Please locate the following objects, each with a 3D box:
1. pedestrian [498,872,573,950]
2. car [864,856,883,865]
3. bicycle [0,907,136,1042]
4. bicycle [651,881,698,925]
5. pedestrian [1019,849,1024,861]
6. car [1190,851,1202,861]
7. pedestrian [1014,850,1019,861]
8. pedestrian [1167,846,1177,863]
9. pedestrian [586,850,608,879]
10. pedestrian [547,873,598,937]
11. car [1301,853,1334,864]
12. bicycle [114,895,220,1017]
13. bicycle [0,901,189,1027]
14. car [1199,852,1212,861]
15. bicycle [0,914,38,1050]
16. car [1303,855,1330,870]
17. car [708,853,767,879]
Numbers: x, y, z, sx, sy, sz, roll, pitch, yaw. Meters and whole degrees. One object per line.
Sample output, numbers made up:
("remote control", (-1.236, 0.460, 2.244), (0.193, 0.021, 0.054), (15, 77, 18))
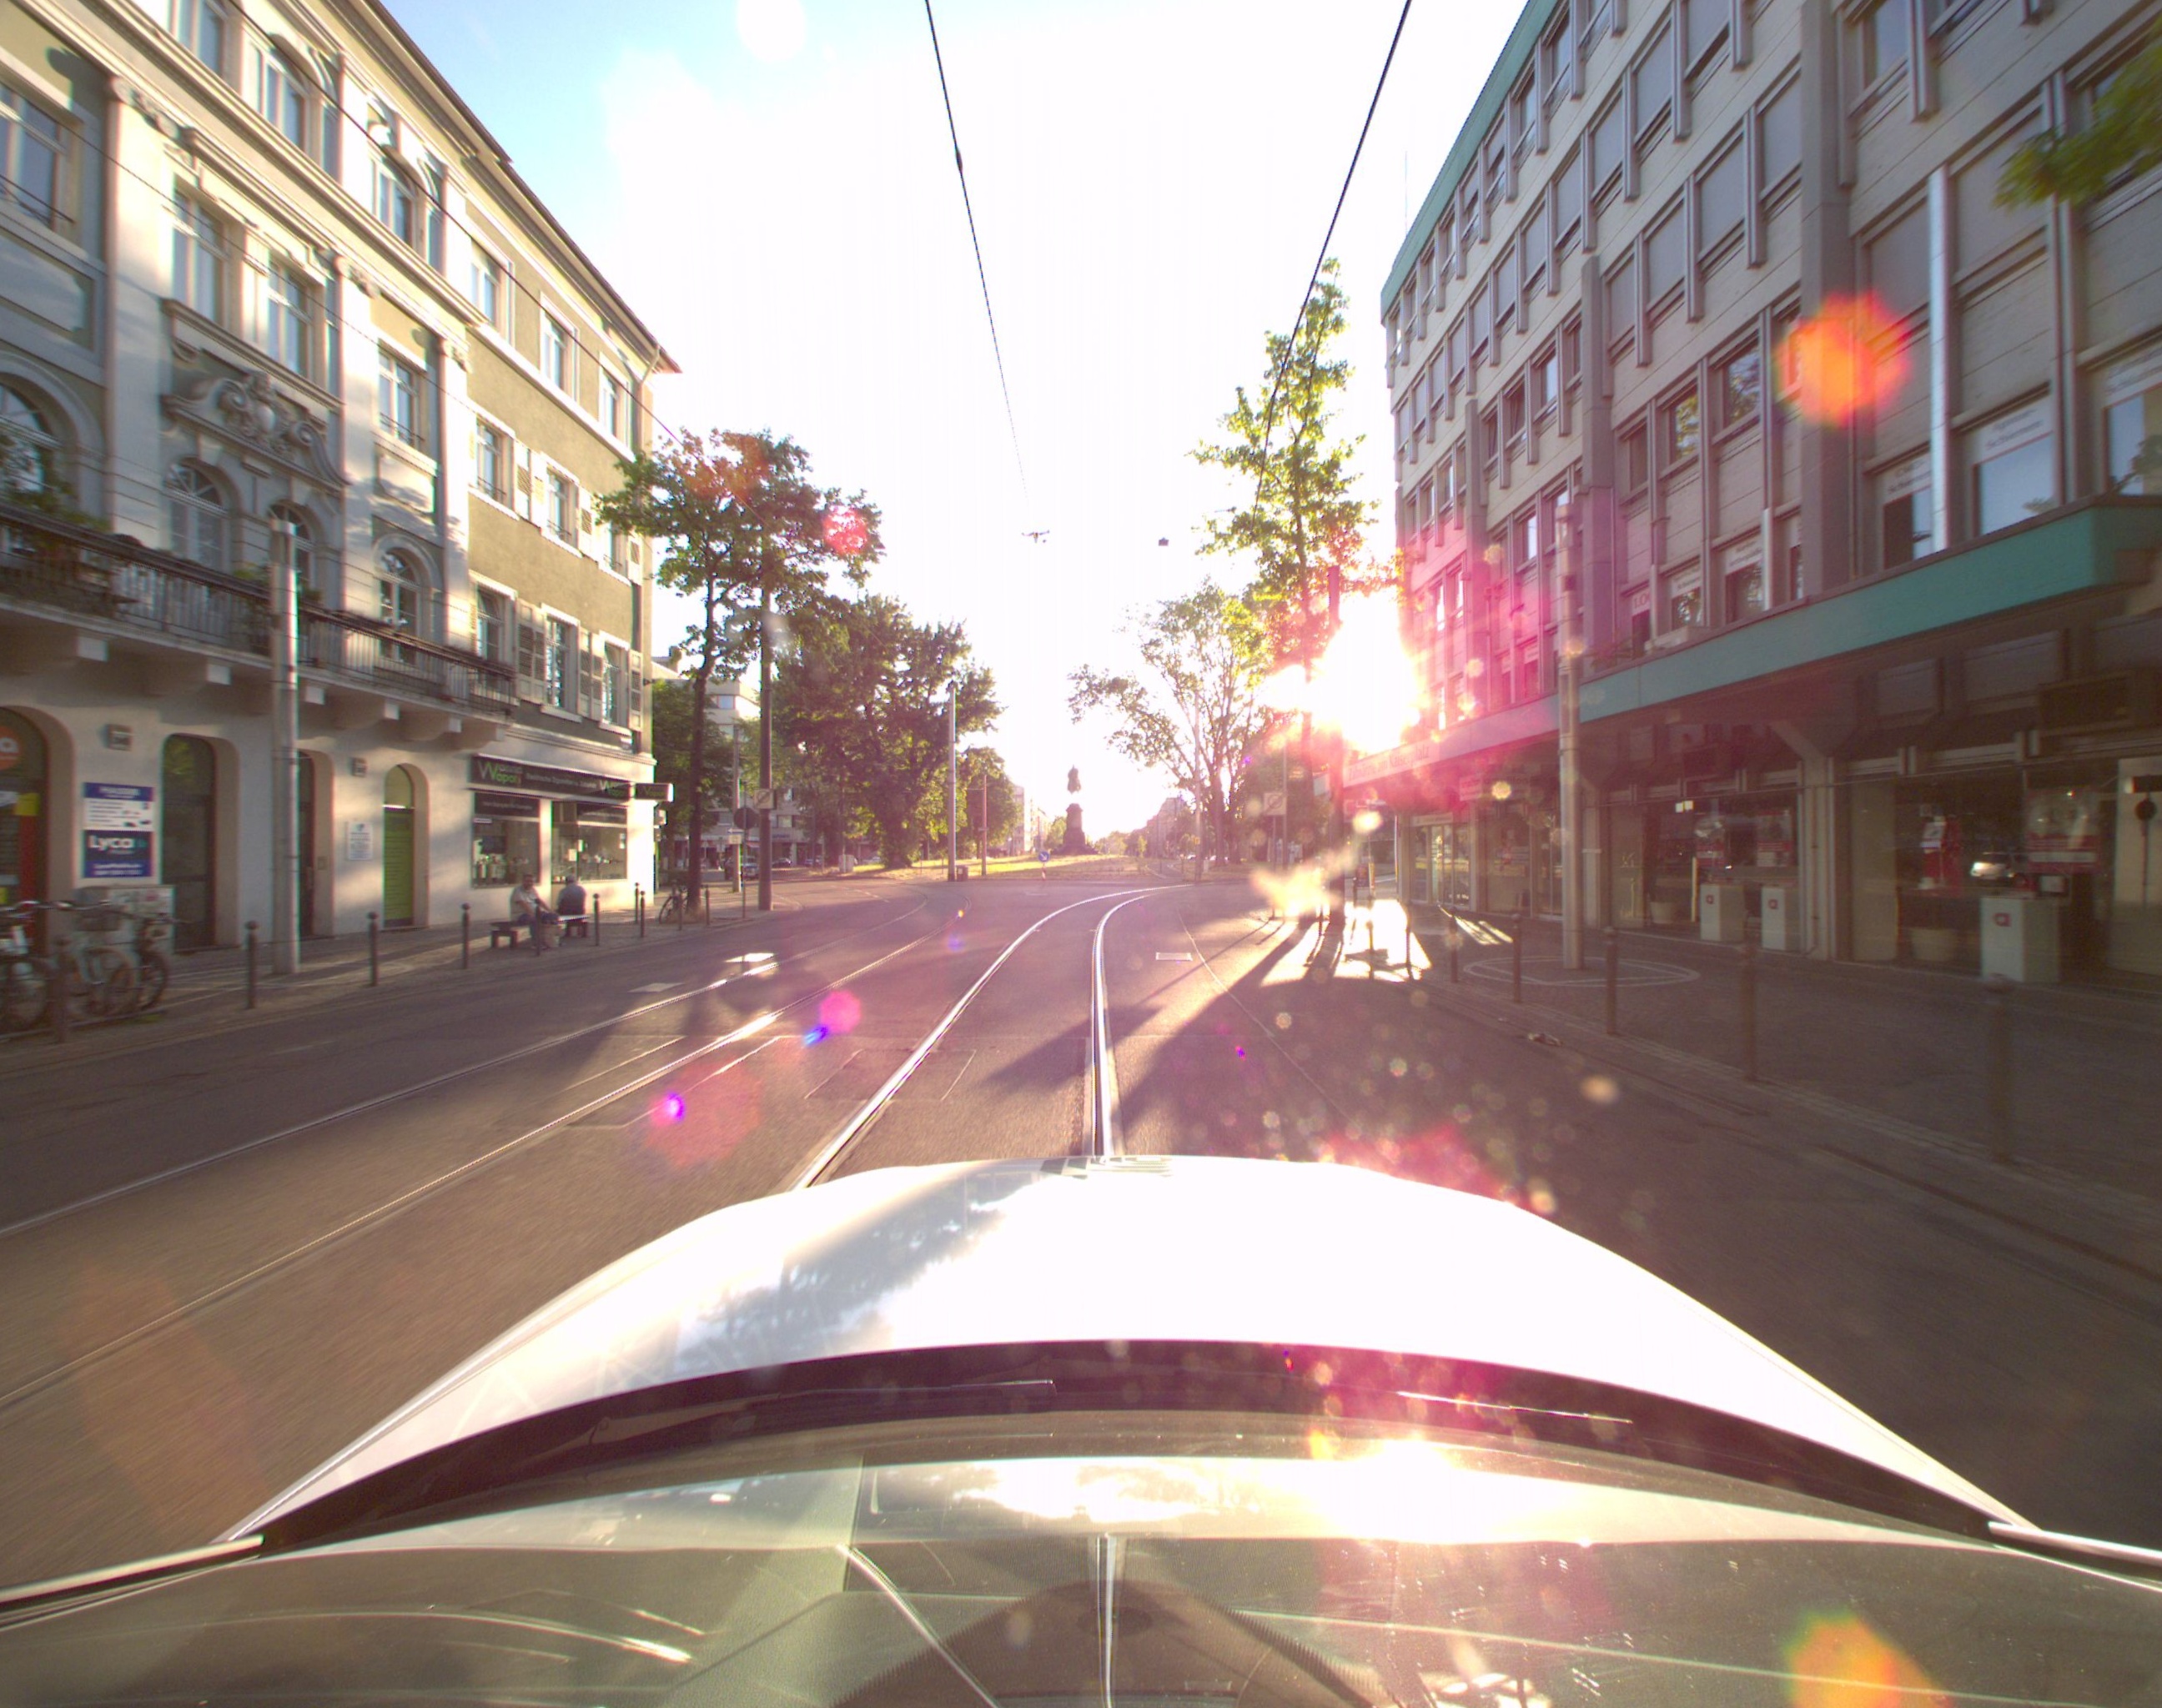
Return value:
("pedestrian", (-9.471, 0.974, 14.173), (0.726, 1.290, 0.856), (0, 0, -2))
("car", (-32.802, 1.016, 128.734), (1.869, 1.420, 3.928), (-1, 0, 3))
("bicycle", (-9.748, 1.044, 7.290), (2.015, 1.105, 0.501), (1, -1, 3))
("bicycle", (-9.705, 1.154, 19.477), (0.335, 0.946, 1.510), (-1, 0, 1))
("pedestrian", (-8.670, 0.145, 118.443), (0.768, 1.606, 0.637), (-1, 0, -6))
("car", (25.590, 0.437, 181.429), (2.131, 2.013, 4.000), (0, 0, 1))
("pedestrian", (-9.424, 0.152, 118.958), (0.768, 1.606, 0.637), (-1, 0, -6))
("pedestrian", (8.796, 0.048, 78.843), (0.776, 1.606, 0.630), (-1, 0, -42))
("pedestrian", (-24.252, 0.526, 40.810), (0.762, 1.410, 0.750), (-1, 0, 43))
("pedestrian", (-9.865, 0.985, 15.813), (0.589, 1.194, 0.641), (0, 0, -2))
("car", (32.048, 0.596, 110.425), (3.979, 1.584, 2.013), (0, 0, -4))
("bicycle", (-9.842, 1.037, 8.748), (2.004, 1.105, 0.504), (0, -1, 35))
("bicycle", (-9.901, 1.042, 7.876), (2.015, 1.105, 0.501), (1, -1, 3))
("car", (26.076, 0.532, 171.032), (2.131, 2.013, 4.000), (0, 0, 1))
("bicycle", (-9.899, 1.046, 6.410), (2.033, 1.105, 0.497), (2, -1, -25))
("car", (32.249, 1.156, 111.655), (1.993, 1.969, 3.987), (-1, 0, -9))
("car", (-22.542, 0.757, 53.414), (4.304, 1.676, 1.981), (0, 0, 44))
